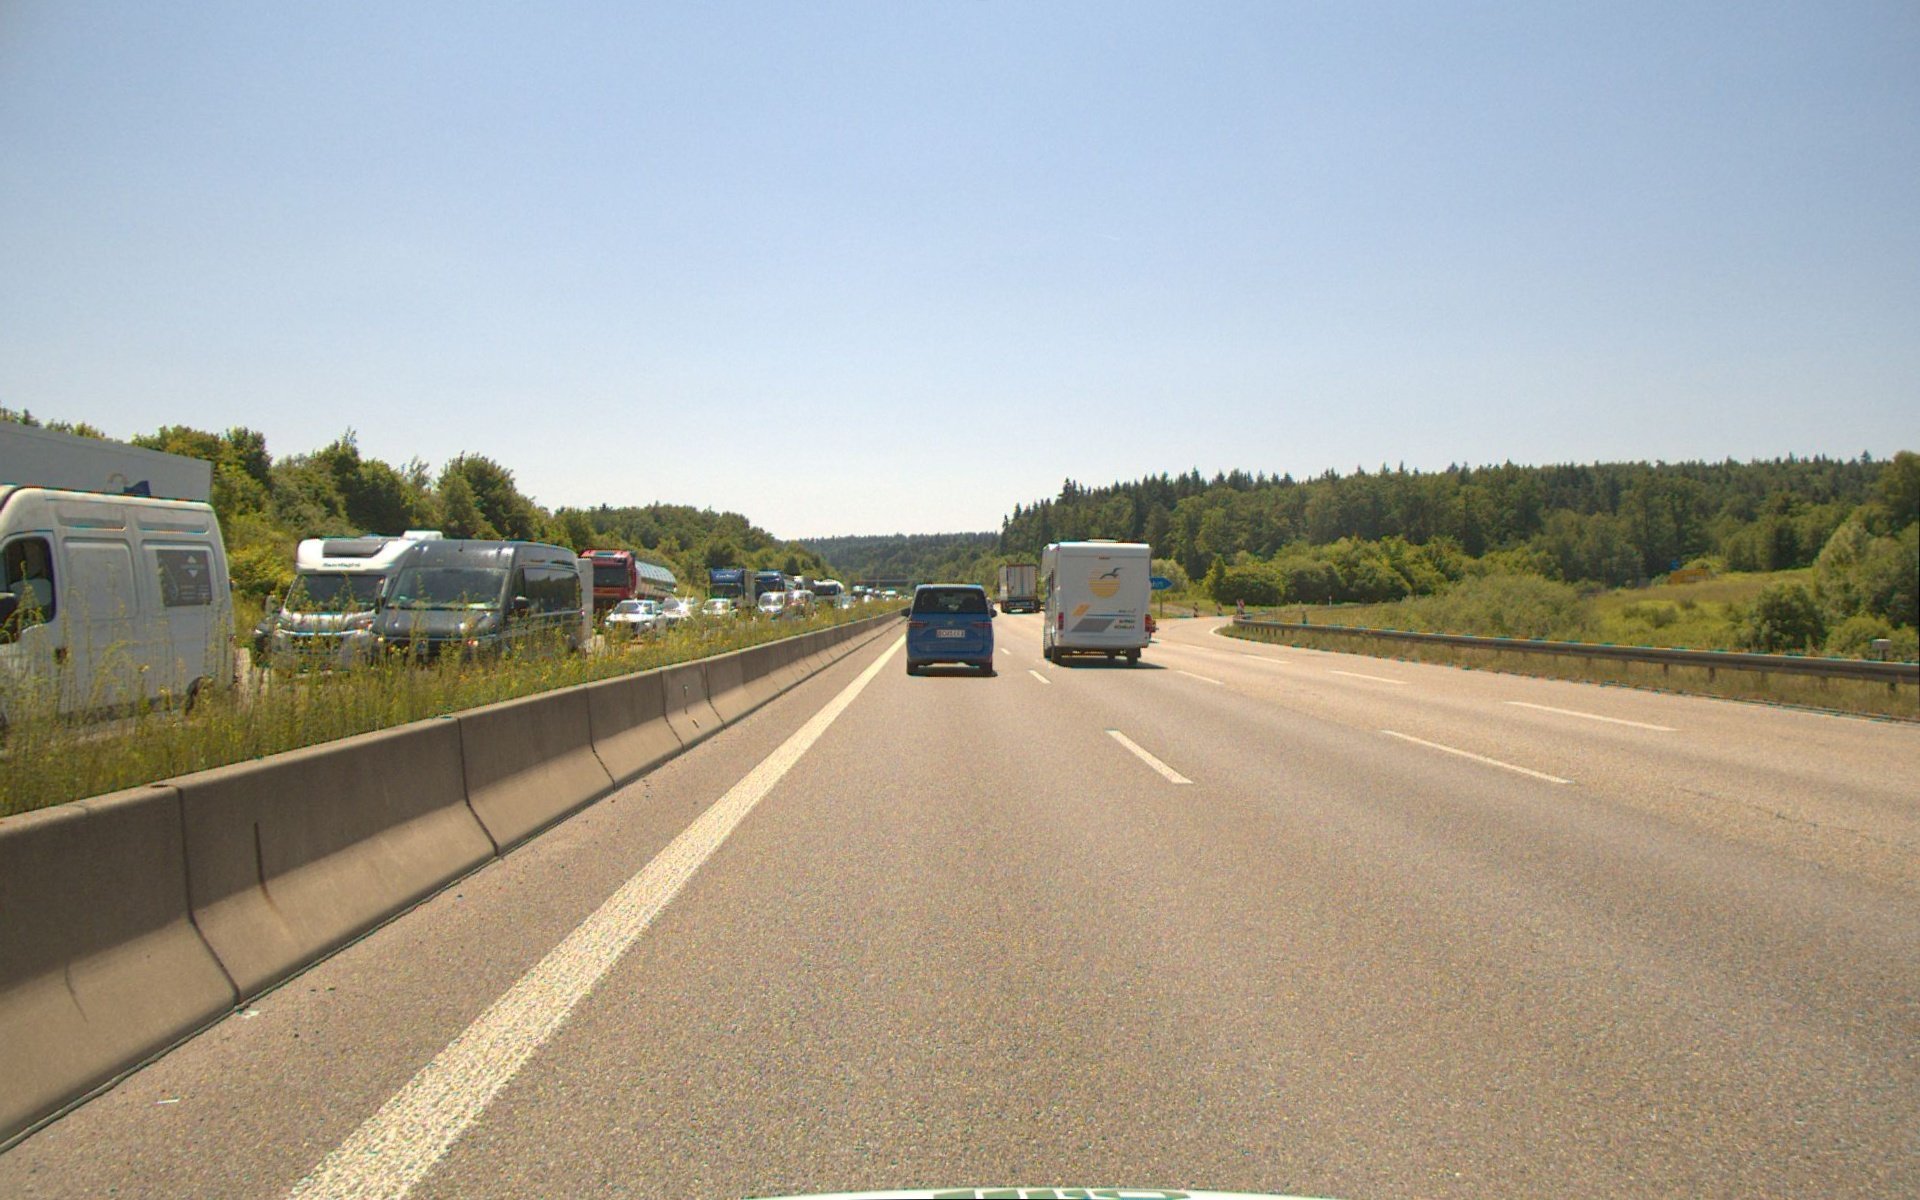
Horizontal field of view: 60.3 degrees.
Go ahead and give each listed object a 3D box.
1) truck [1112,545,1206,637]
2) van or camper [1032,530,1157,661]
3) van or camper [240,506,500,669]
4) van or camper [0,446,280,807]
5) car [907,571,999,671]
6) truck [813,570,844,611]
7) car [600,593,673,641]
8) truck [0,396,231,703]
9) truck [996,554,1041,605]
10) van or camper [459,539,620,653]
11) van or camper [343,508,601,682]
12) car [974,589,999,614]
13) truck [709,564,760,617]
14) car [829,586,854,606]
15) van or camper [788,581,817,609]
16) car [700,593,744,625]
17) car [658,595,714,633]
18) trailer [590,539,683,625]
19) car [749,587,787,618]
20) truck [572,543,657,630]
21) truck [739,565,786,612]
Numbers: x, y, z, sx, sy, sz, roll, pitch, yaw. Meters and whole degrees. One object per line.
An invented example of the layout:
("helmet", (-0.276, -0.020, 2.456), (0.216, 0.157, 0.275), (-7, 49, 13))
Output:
("truck", (8.321, -0.438, 70.284), (2.868, 3.637, 8.526), (-1, 1, 0))
("van or camper", (3.407, -0.091, 43.456), (2.550, 3.132, 7.180), (1, 0, -1))
("van or camper", (-11.910, -0.210, 34.238), (2.492, 2.988, 7.828), (0, 0, 1))
("van or camper", (-7.905, 0.199, 13.708), (2.148, 2.550, 6.056), (0, 0, -1))
("car", (-0.175, 0.397, 36.269), (1.870, 2.049, 4.000), (-1, 1, -1))
("truck", (-13.338, -0.924, 168.653), (2.565, 3.958, 7.401), (-1, 0, -1))
("car", (-11.552, 0.598, 59.319), (1.844, 1.656, 4.357), (0, 0, -1))
("truck", (-15.038, -0.730, 25.206), (2.469, 4.401, 12.419), (1, 0, -1))
("truck", (4.999, -1.689, 143.231), (3.416, 4.243, 8.640), (1, 0, -1))
("van or camper", (-11.925, -0.082, 47.694), (2.492, 2.988, 8.131), (0, 0, 1))
("van or camper", (-7.756, -0.054, 27.280), (2.250, 2.477, 7.281), (0, 0, -1))
("car", (1.978, 0.094, 125.898), (1.781, 1.825, 3.893), (1, 0, -1))
("truck", (-16.546, -0.637, 121.928), (2.493, 3.739, 9.935), (0, 0, -1))
("car", (-9.550, -0.320, 133.814), (1.718, 1.611, 4.853), (0, 0, -1))
("van or camper", (-13.002, -0.395, 136.598), (1.953, 2.190, 4.716), (-2, 0, -1))
("car", (-12.408, 0.454, 86.508), (1.718, 1.577, 4.188), (1, 0, -1))
("car", (-11.909, 0.616, 72.225), (1.718, 1.611, 4.784), (0, 0, -1))
("trailer", (-16.329, -0.867, 84.316), (2.625, 4.019, 12.271), (0, 0, -2))
("car", (-12.640, 0.143, 109.177), (1.982, 1.992, 5.093), (0, 0, -1))
("truck", (-16.161, -0.585, 77.690), (2.726, 3.890, 6.031), (1, 0, -1))
("truck", (-17.584, -0.989, 147.737), (3.419, 4.107, 6.642), (1, 0, -1))
